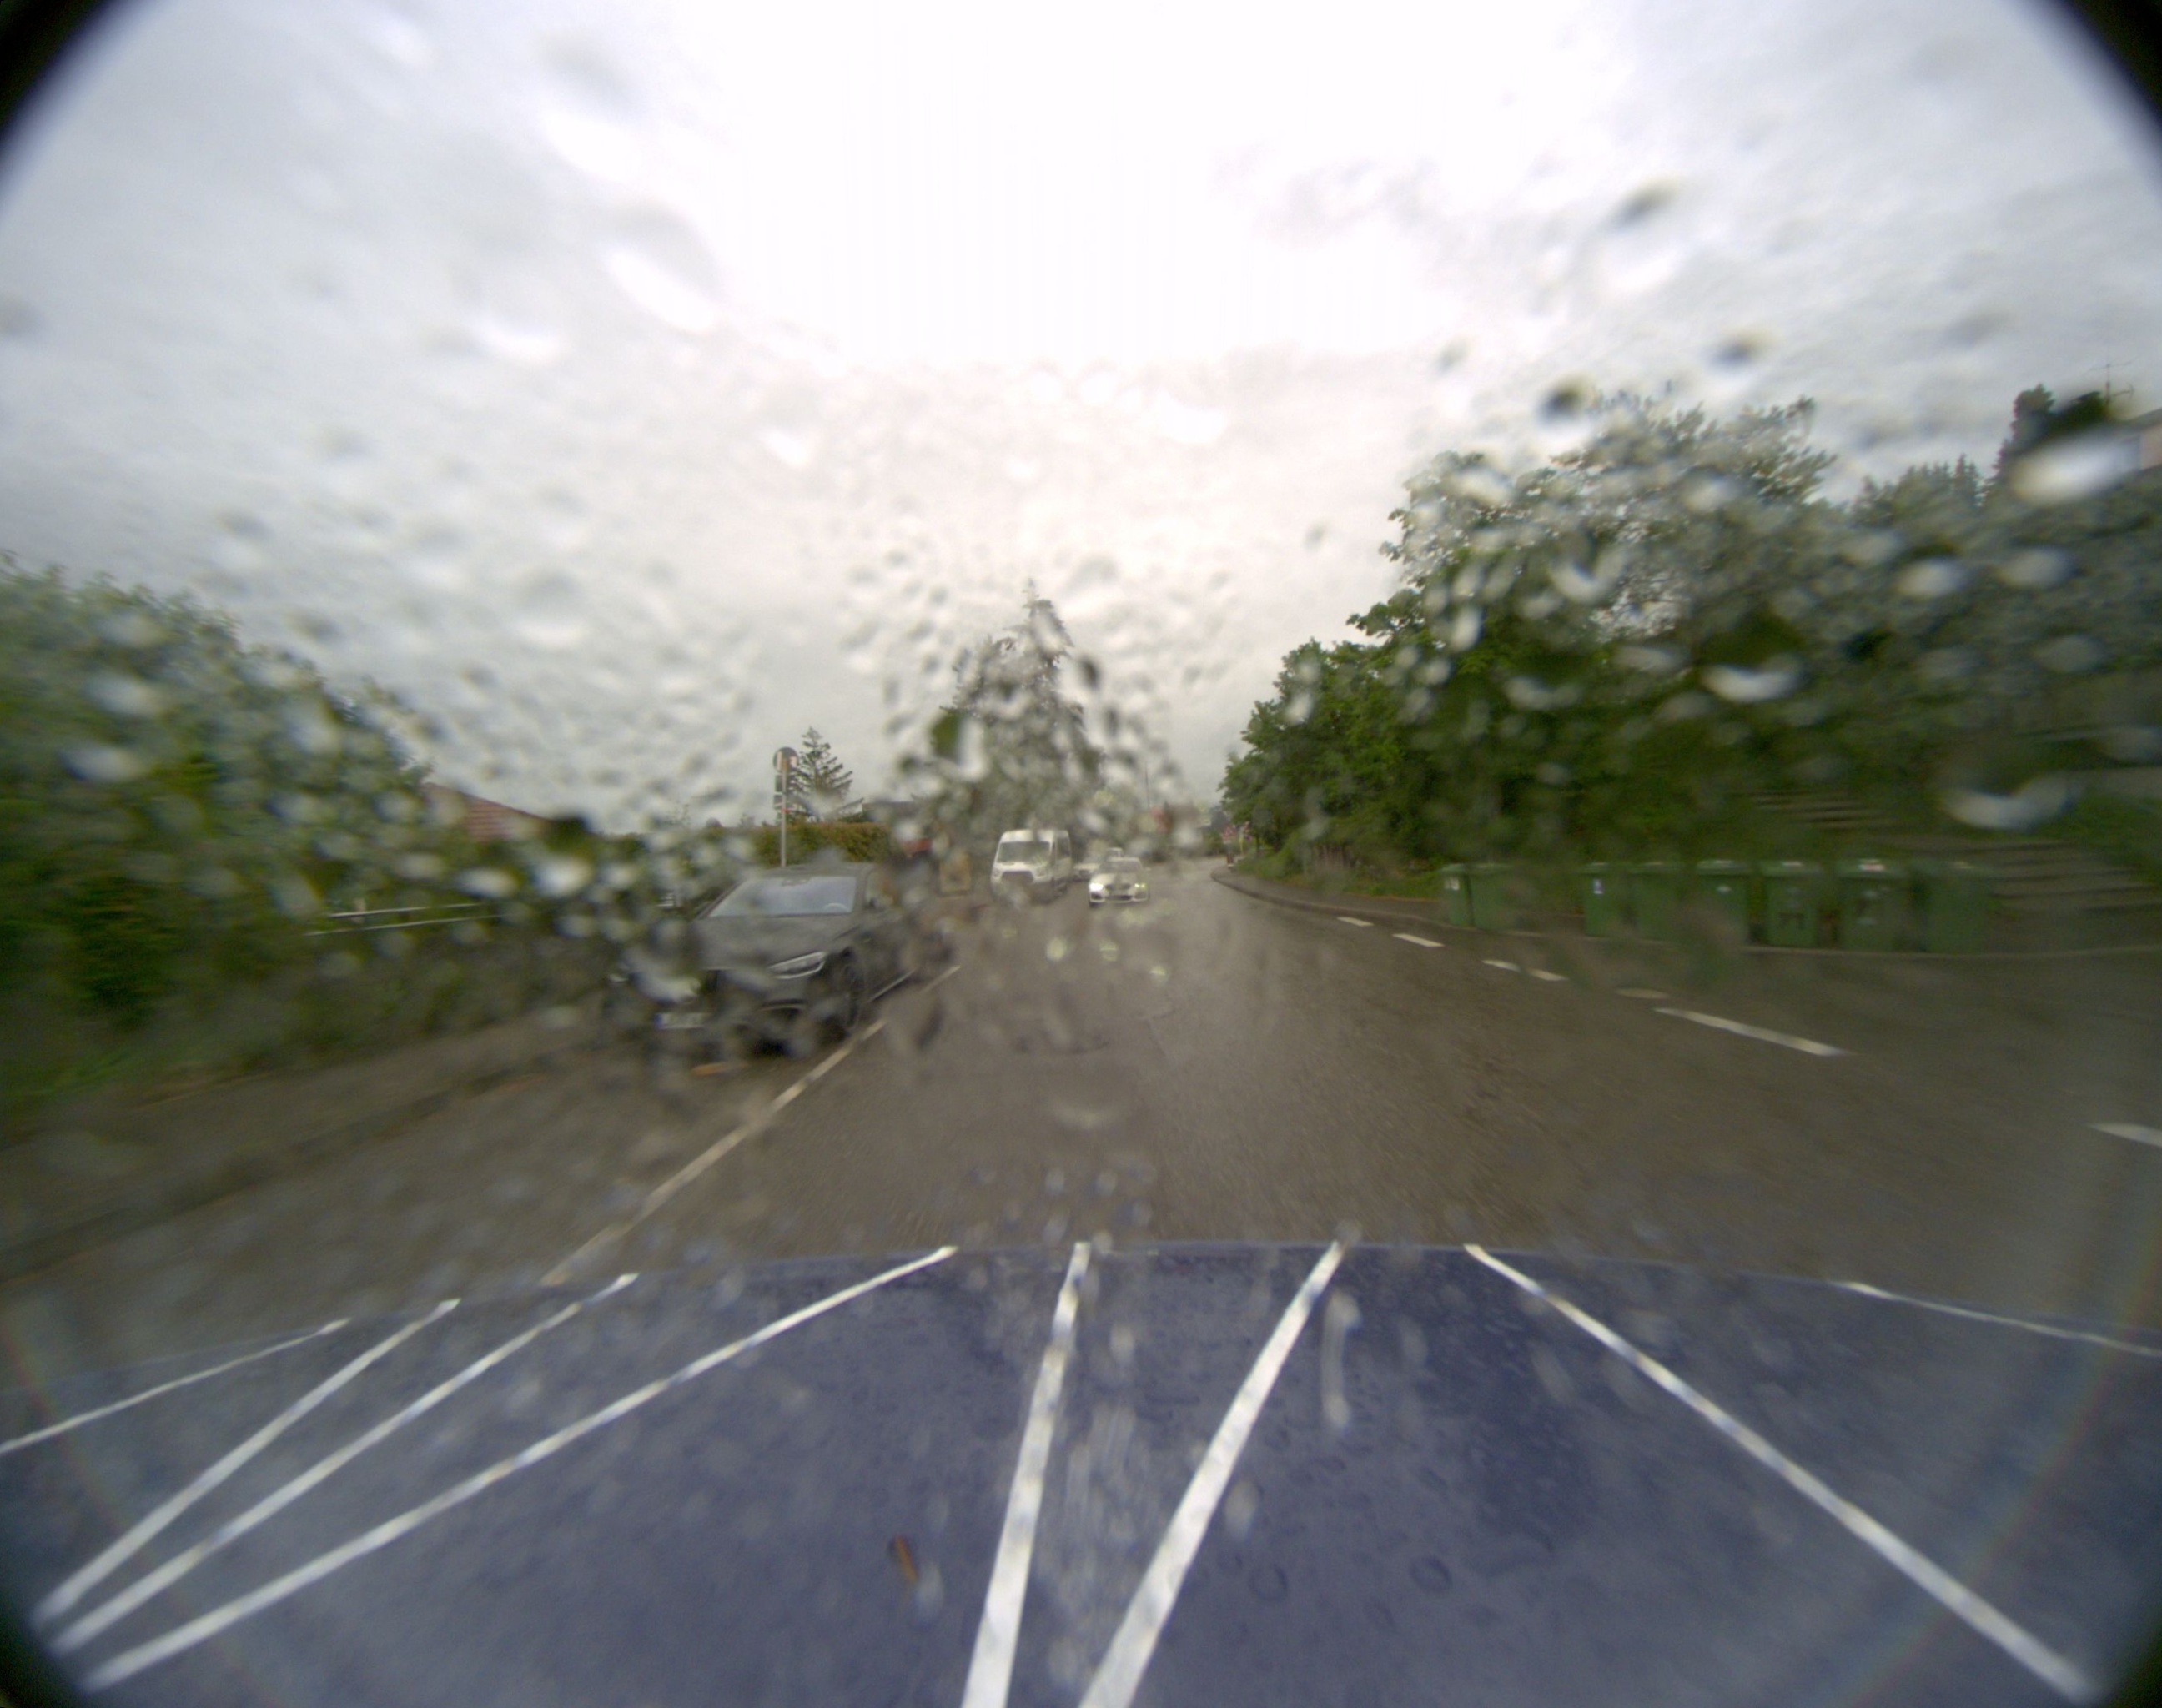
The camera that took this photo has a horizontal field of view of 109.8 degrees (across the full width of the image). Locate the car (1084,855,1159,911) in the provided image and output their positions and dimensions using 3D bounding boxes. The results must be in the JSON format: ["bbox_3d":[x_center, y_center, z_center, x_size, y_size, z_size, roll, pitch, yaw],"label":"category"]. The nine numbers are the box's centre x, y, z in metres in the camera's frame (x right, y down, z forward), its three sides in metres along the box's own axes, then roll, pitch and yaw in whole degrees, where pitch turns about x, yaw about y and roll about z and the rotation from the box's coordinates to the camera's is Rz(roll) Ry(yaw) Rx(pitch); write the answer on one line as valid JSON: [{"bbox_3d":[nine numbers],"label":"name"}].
[{"bbox_3d":[1.334,0.838,23.450,1.797,1.455,4.002,-2,1,10],"label":"car"}]

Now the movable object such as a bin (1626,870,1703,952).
[{"bbox_3d":[8.179,0.779,10.655,0.781,1.022,0.717,-7,3,-45],"label":"movable object such as a bin"}]

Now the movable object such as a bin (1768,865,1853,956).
[{"bbox_3d":[9.211,0.697,9.599,0.781,1.022,0.717,-7,3,-45],"label":"movable object such as a bin"}]

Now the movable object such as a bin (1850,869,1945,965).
[{"bbox_3d":[9.721,0.729,9.074,0.781,1.022,0.717,-7,3,-45],"label":"movable object such as a bin"}]

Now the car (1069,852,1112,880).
[{"bbox_3d":[0.568,0.662,42.988,1.752,1.415,4.002,-2,1,10],"label":"car"}]

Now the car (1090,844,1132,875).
[{"bbox_3d":[1.979,0.287,48.680,1.868,1.808,4.865,-2,1,12],"label":"car"}]

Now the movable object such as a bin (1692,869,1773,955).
[{"bbox_3d":[8.692,0.754,10.132,0.781,1.022,0.717,-7,3,-45],"label":"movable object such as a bin"}]

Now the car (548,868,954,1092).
[{"bbox_3d":[-2.861,0.975,8.109,1.862,1.518,5.064,-1,0,3],"label":"car"}]

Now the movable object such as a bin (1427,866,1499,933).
[{"bbox_3d":[6.551,0.761,13.046,0.781,1.022,0.718,-5,2,-22],"label":"movable object such as a bin"}]

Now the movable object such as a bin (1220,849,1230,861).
[{"bbox_3d":[13.089,0.117,69.067,0.881,1.024,0.804,-2,1,12],"label":"movable object such as a bin"}]

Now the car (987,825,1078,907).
[{"bbox_3d":[-1.540,0.335,26.932,2.077,2.535,6.183,-2,1,6],"label":"car"}]

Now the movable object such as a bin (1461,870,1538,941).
[{"bbox_3d":[6.787,0.816,12.343,0.781,1.022,0.718,-5,2,-22],"label":"movable object such as a bin"}]

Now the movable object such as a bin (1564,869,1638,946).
[{"bbox_3d":[7.652,0.774,11.182,0.781,1.022,0.717,-7,3,-45],"label":"movable object such as a bin"}]
